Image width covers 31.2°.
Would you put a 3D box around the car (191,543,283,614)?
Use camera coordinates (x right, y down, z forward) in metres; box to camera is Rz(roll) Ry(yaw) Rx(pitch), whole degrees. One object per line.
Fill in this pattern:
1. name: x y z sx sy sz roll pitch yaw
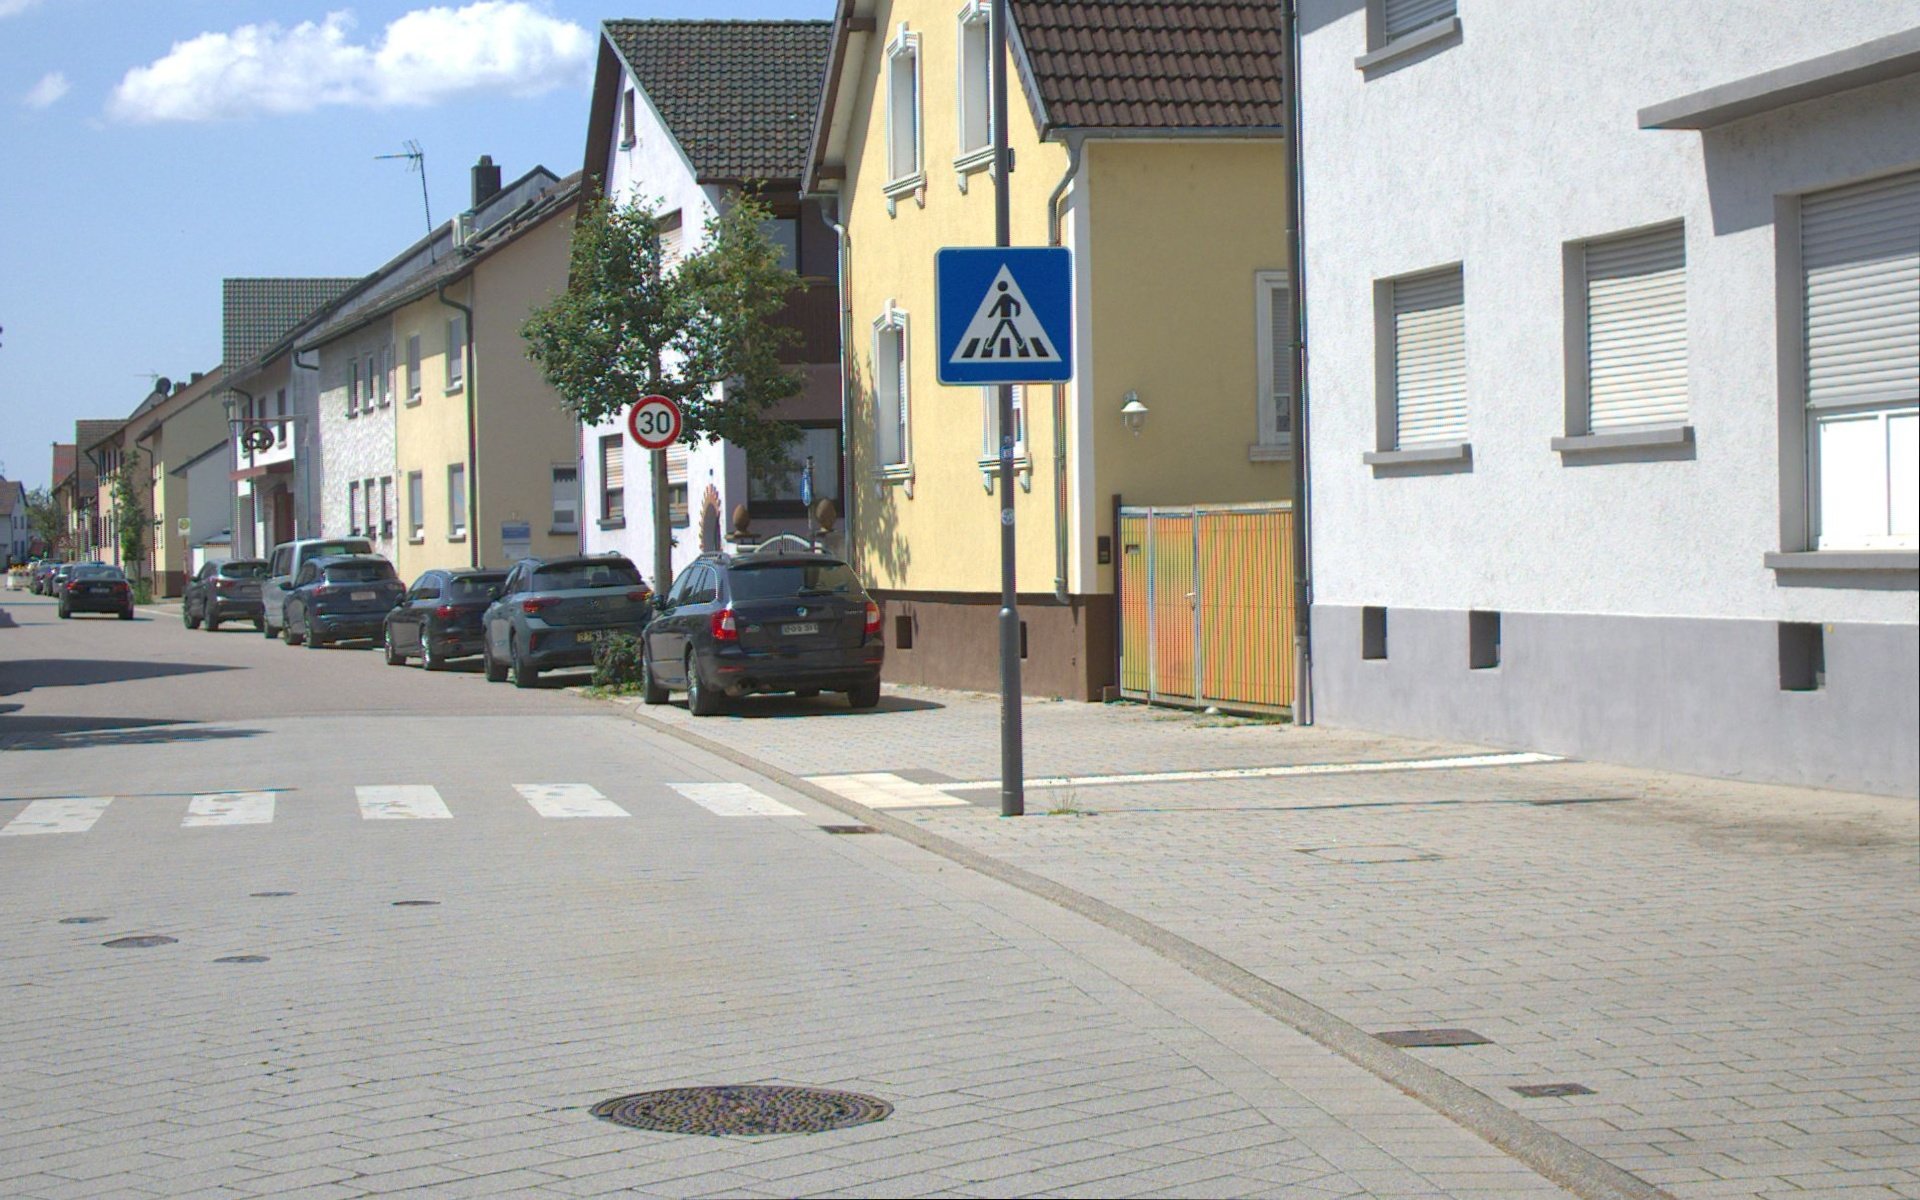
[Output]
1. car: -16.103 -0.497 76.500 1.753 1.487 4.001 -2 1 -15

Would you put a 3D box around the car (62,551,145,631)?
1. car: -22.946 -0.267 92.041 1.993 2.050 4.375 -2 1 -15

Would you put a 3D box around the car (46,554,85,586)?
1. car: -42.297 -1.413 162.521 1.687 1.447 3.794 -2 1 -16

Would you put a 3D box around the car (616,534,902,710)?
1. car: -1.995 0.172 32.797 1.828 1.466 4.277 -3 1 -15

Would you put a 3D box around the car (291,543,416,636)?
1. car: -11.069 -0.214 62.589 1.877 1.586 4.001 -2 1 -15

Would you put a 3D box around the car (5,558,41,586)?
1. car: -50.501 -1.520 185.230 1.687 1.447 3.794 -2 1 -17

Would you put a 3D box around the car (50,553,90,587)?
1. car: -39.688 -1.349 153.268 1.687 1.447 3.794 -2 1 -15

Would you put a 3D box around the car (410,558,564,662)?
1. car: -6.812 0.111 49.240 1.710 1.382 3.707 -2 1 -15

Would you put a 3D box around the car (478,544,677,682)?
1. car: -4.715 0.118 41.964 1.846 1.557 3.695 -2 1 -15

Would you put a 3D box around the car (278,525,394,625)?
1. car: -12.386 -0.520 68.106 1.906 1.865 4.001 -2 1 -15
